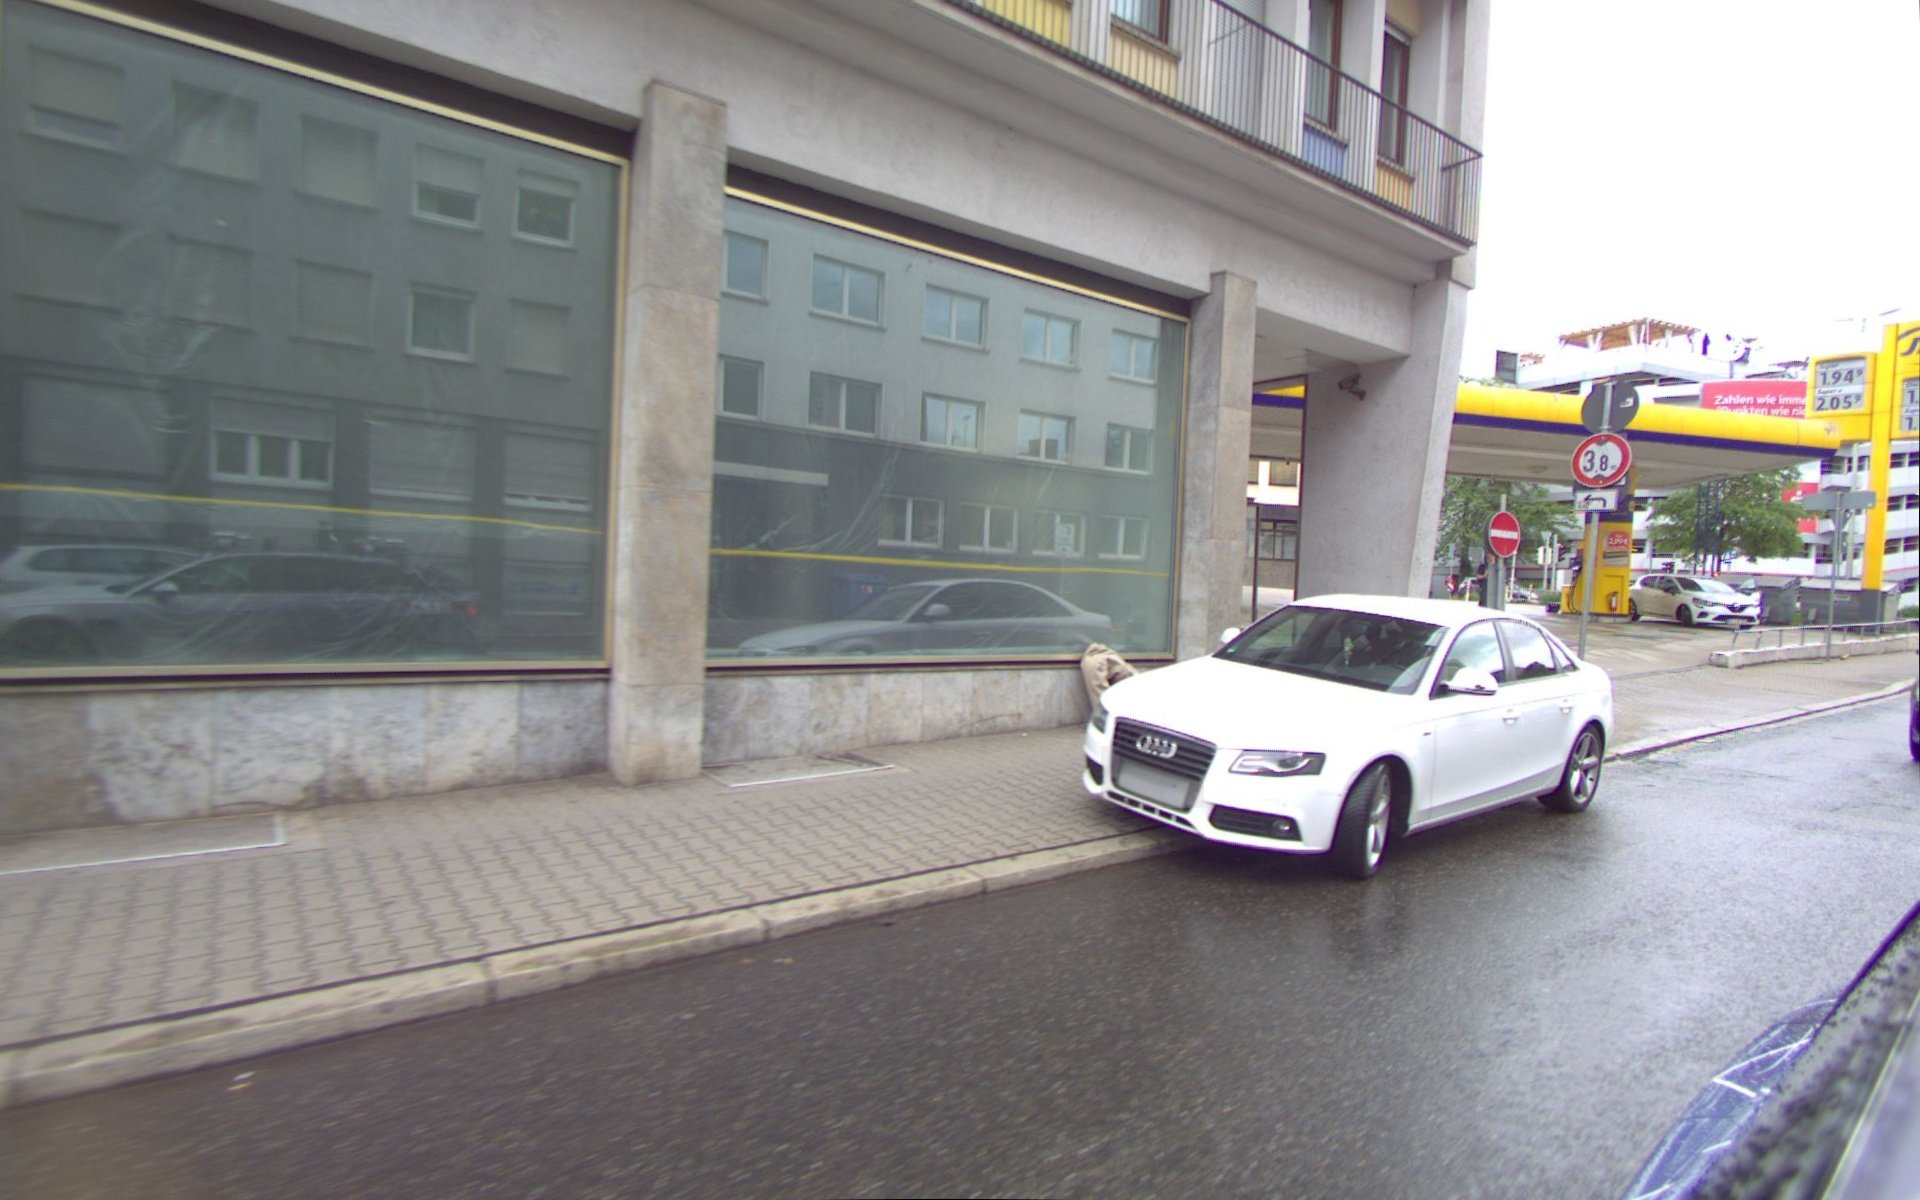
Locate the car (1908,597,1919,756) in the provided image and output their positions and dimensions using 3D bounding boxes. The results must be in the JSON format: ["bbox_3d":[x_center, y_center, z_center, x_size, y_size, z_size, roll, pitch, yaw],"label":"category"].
[{"bbox_3d":[10.754,0.716,9.773,4.500,1.405,1.738,1,1,-39],"label":"car"}]

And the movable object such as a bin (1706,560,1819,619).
[{"bbox_3d":[23.864,-0.311,30.125,1.739,1.574,2.164,1,4,-35],"label":"movable object such as a bin"}]

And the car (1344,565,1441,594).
[{"bbox_3d":[25.999,-1.244,61.004,1.965,1.652,5.032,1,1,-41],"label":"car"}]

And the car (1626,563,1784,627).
[{"bbox_3d":[20.577,-0.199,28.172,1.716,1.459,3.994,3,4,7],"label":"car"}]

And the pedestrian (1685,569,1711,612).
[{"bbox_3d":[26.739,-0.350,36.668,0.566,1.534,0.478,1,0,14],"label":"pedestrian"}]

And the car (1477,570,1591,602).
[{"bbox_3d":[31.124,-0.766,54.969,1.965,1.652,5.032,1,1,-41],"label":"car"}]

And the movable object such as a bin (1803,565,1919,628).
[{"bbox_3d":[25.275,-0.114,28.300,1.739,1.593,2.164,1,3,-35],"label":"movable object such as a bin"}]

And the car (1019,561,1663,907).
[{"bbox_3d":[2.763,0.618,6.820,4.525,1.418,1.900,1,7,-39],"label":"car"}]

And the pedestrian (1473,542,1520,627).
[{"bbox_3d":[11.666,-0.352,22.023,0.649,1.792,0.528,4,4,12],"label":"pedestrian"}]
